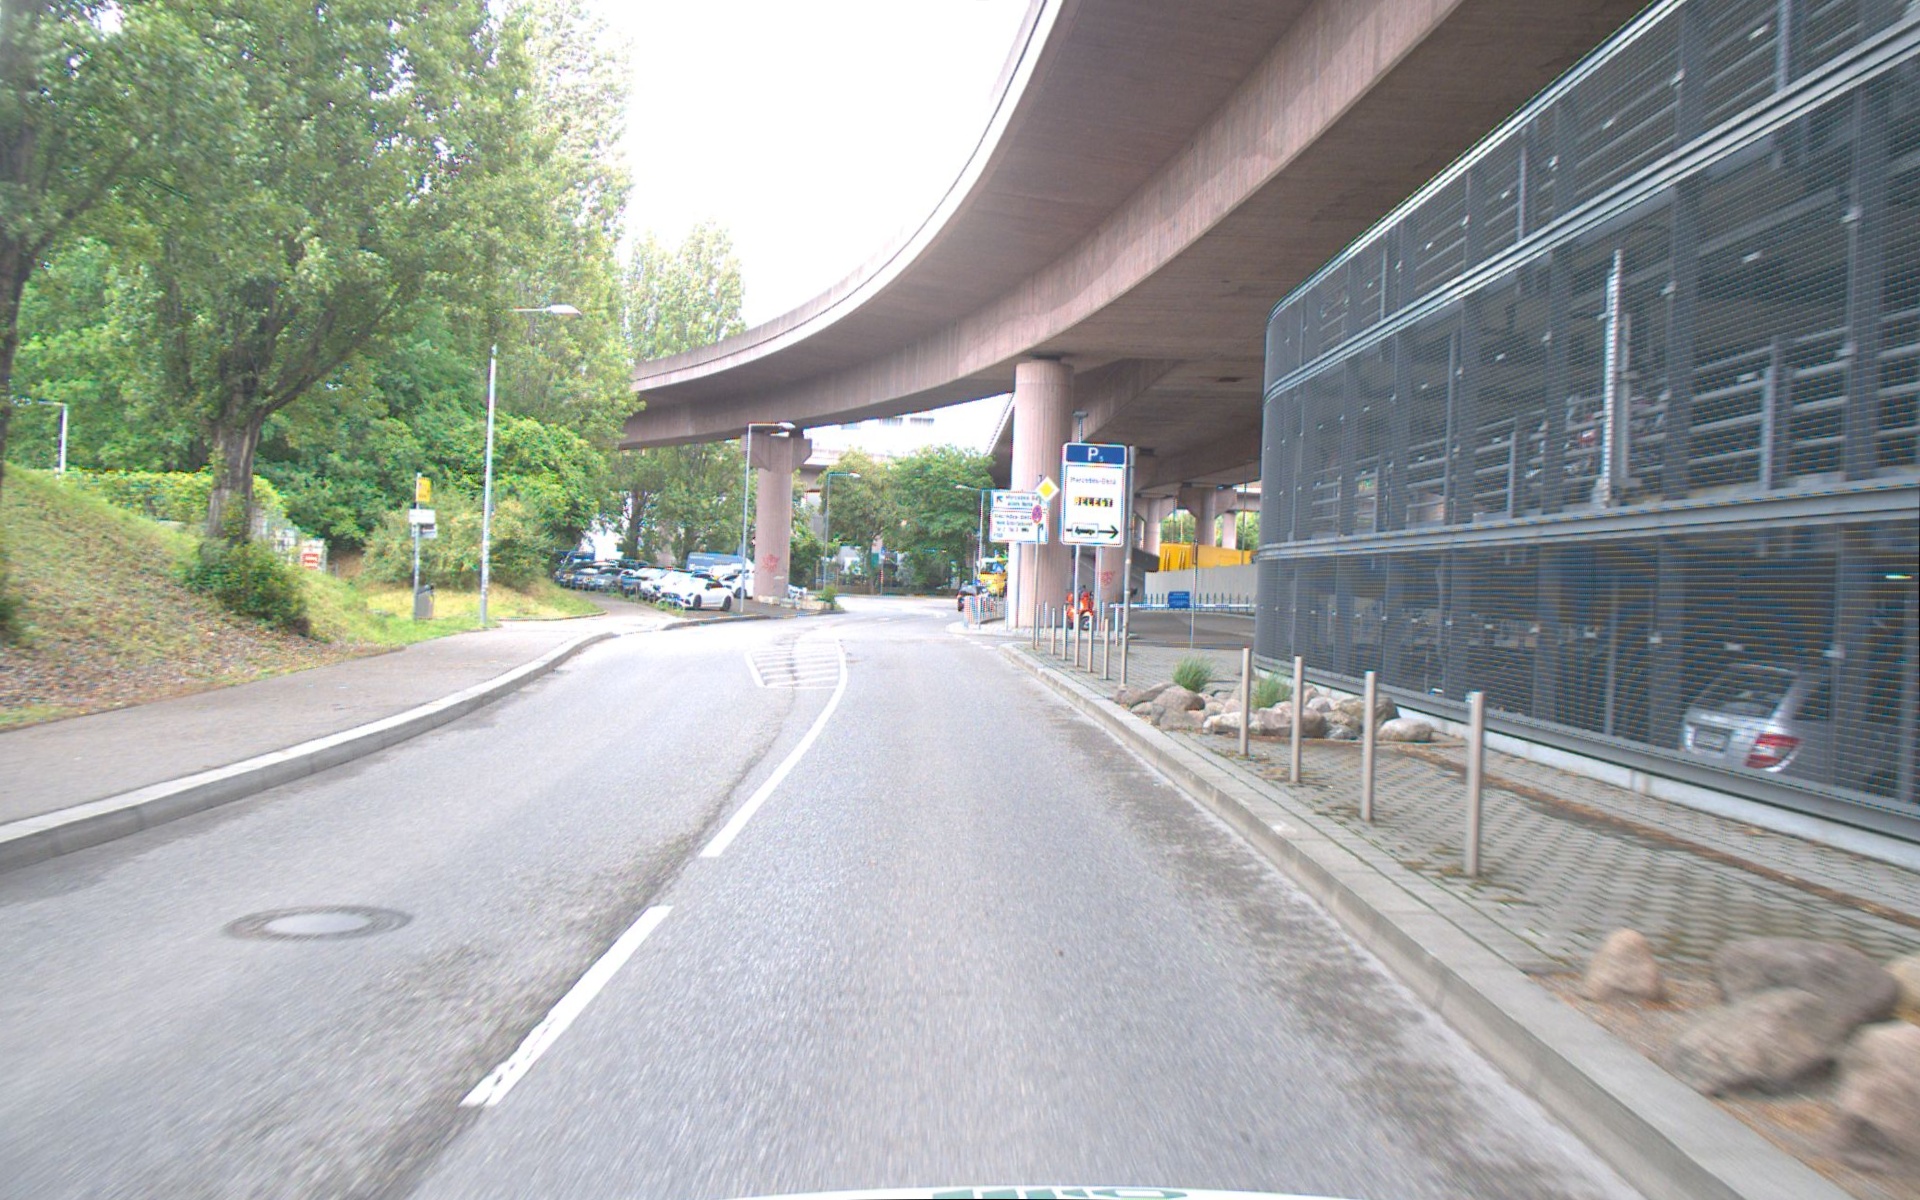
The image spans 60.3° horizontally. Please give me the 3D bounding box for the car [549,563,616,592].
[{"bbox_3d":[-22.770,-1.357,99.919,1.857,1.705,4.152,1,1,24],"label":"car"}]

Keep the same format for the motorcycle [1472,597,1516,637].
[{"bbox_3d":[17.926,0.545,55.583,0.560,1.124,2.329,1,5,-3],"label":"motorcycle"}]

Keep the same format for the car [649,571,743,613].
[{"bbox_3d":[-11.718,-0.335,73.778,1.953,1.505,4.829,6,0,19],"label":"car"}]

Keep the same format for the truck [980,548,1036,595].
[{"bbox_3d":[4.708,-2.885,163.231,3.017,4.374,8.011,0,2,-17],"label":"truck"}]

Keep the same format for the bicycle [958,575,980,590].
[{"bbox_3d":[0.712,-1.382,129.735,0.794,1.117,2.108,0,1,-31],"label":"bicycle"}]

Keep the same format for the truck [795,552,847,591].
[{"bbox_3d":[-14.587,-3.032,173.349,3.015,3.681,7.859,1,3,-24],"label":"truck"}]

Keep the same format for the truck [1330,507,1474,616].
[{"bbox_3d":[21.653,-1.804,80.530,3.089,5.010,9.677,1,1,39],"label":"truck"}]

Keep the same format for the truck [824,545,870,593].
[{"bbox_3d":[-12.156,-3.368,177.083,3.152,4.862,8.012,0,2,-17],"label":"truck"}]

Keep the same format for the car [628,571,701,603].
[{"bbox_3d":[-14.473,-0.628,81.213,1.750,1.479,3.746,2,0,22],"label":"car"}]

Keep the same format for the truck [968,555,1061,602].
[{"bbox_3d":[4.532,-1.806,136.140,2.888,3.540,8.189,6,6,44],"label":"truck"}]

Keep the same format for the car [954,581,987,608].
[{"bbox_3d":[0.697,-0.369,111.141,1.953,1.708,4.559,2,0,-2],"label":"car"}]

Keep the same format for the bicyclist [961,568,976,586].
[{"bbox_3d":[0.675,-1.804,129.798,0.788,1.430,1.055,0,0,-32],"label":"bicyclist"}]

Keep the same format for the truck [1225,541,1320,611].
[{"bbox_3d":[23.709,-1.770,125.080,3.091,4.989,8.668,2,0,41],"label":"truck"}]

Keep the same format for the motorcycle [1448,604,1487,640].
[{"bbox_3d":[16.839,0.714,54.906,0.532,1.125,2.329,2,1,-1],"label":"motorcycle"}]

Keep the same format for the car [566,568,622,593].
[{"bbox_3d":[-21.356,-1.137,96.658,1.609,1.466,3.737,1,1,16],"label":"car"}]

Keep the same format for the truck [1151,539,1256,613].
[{"bbox_3d":[17.395,-1.680,117.700,3.091,5.003,8.668,2,0,41],"label":"truck"}]

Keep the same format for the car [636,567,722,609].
[{"bbox_3d":[-13.123,-0.537,77.615,1.953,1.609,4.401,6,0,20],"label":"car"}]

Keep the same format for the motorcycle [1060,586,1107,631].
[{"bbox_3d":[3.956,0.251,53.188,0.783,1.390,2.119,0,1,-18],"label":"motorcycle"}]

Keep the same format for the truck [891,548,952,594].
[{"bbox_3d":[-3.607,-2.716,153.089,3.023,3.934,7.997,0,3,-22],"label":"truck"}]

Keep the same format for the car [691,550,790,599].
[{"bbox_3d":[-14.171,-1.654,107.052,6.051,2.772,2.367,3,1,-2],"label":"car"}]

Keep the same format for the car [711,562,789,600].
[{"bbox_3d":[-13.207,-1.189,104.046,4.460,2.147,1.852,3,1,7],"label":"car"}]

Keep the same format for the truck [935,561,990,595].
[{"bbox_3d":[0.208,-2.091,153.867,2.875,2.949,6.516,0,3,-22],"label":"truck"}]

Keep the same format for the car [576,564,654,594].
[{"bbox_3d":[-19.540,-1.176,93.871,1.820,1.513,4.888,4,2,22],"label":"car"}]

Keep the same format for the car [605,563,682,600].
[{"bbox_3d":[-15.993,-0.921,83.874,1.819,1.720,4.163,2,0,22],"label":"car"}]

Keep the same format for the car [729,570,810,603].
[{"bbox_3d":[-11.337,-0.795,98.363,4.288,1.633,1.956,4,1,12],"label":"car"}]
